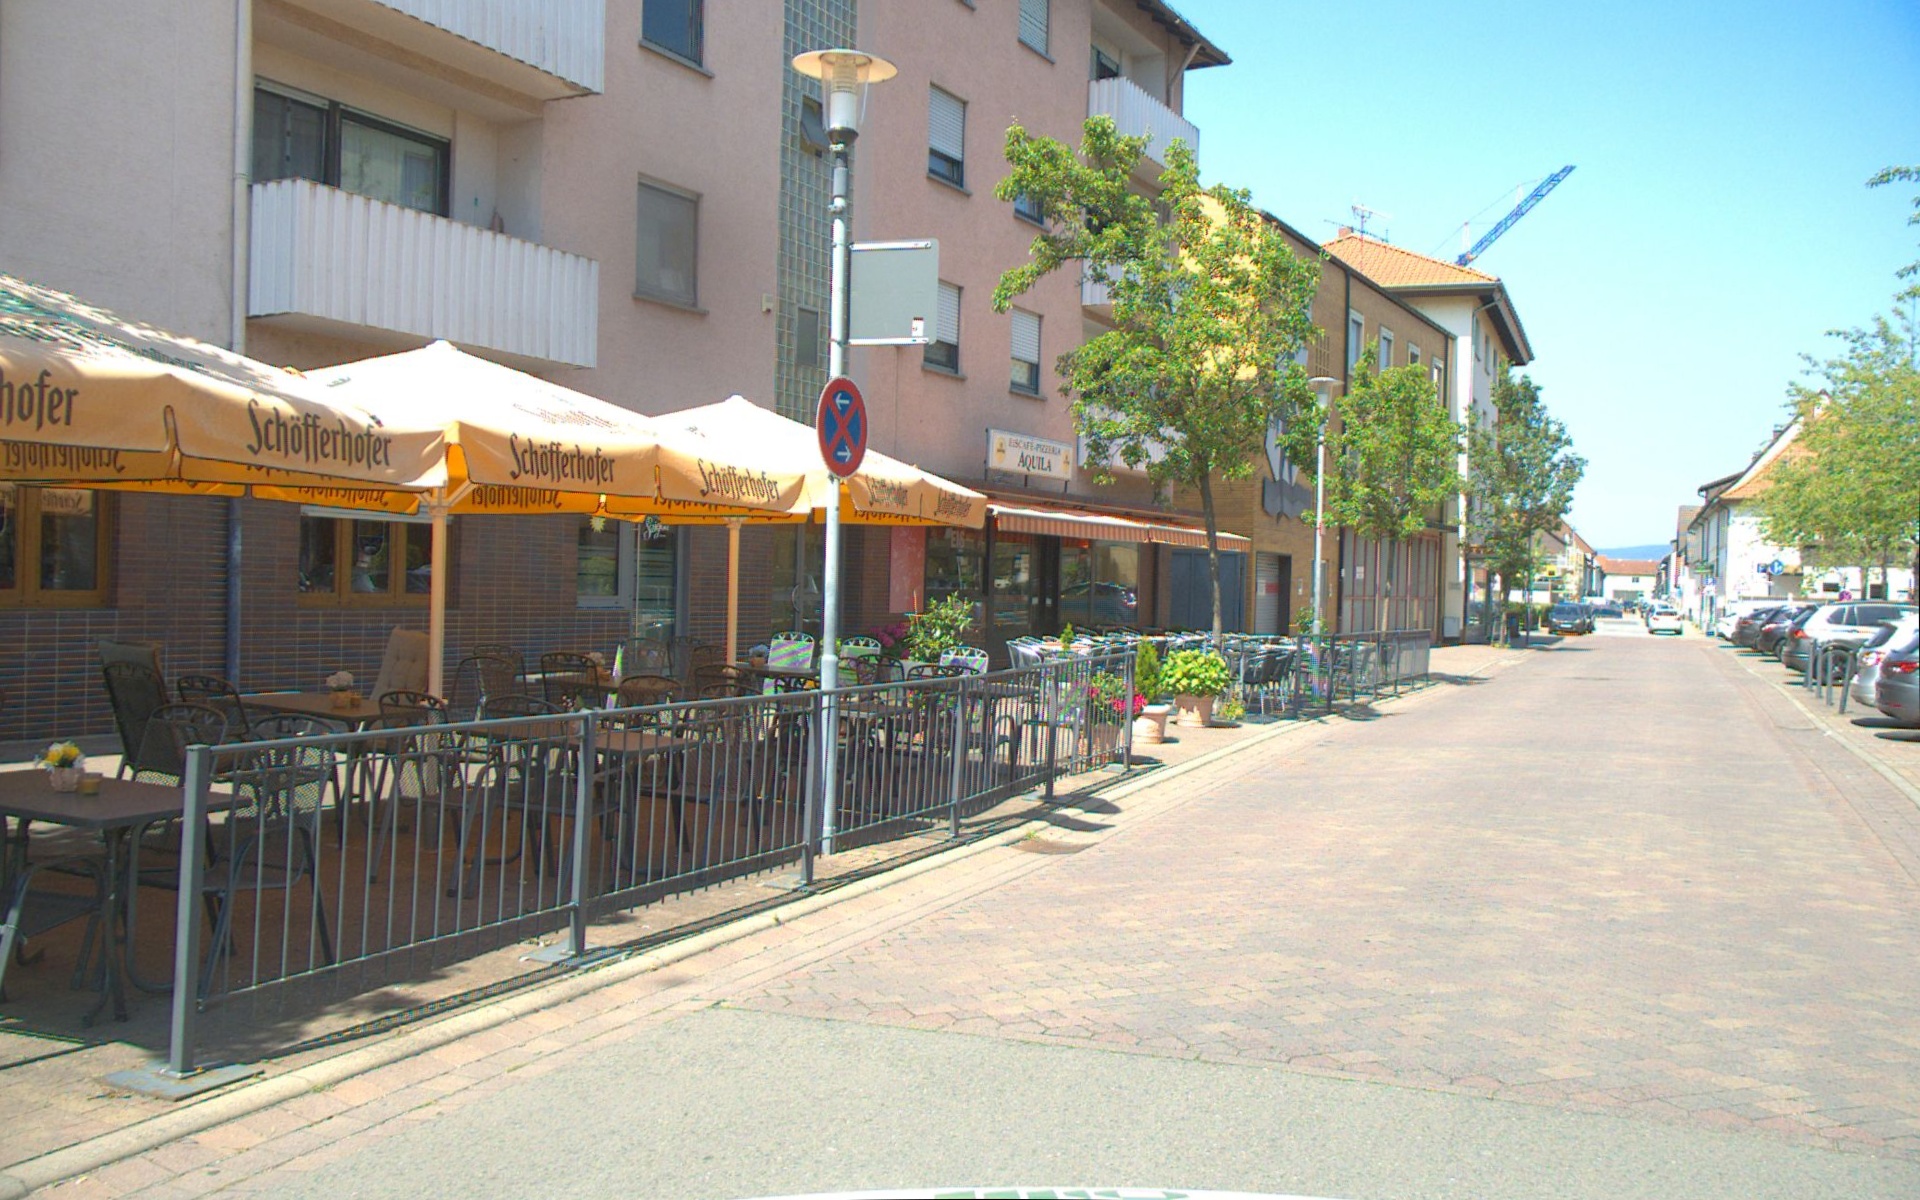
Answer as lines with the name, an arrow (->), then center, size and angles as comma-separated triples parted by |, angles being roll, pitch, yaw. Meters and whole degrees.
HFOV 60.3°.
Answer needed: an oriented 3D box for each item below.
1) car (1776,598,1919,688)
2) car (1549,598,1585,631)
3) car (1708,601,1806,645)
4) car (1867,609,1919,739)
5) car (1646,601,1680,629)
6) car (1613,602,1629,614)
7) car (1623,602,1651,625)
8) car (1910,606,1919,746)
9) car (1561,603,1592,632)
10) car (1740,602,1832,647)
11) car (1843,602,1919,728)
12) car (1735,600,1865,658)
car -> 18.370, 0.842, 32.368 | 4.158, 1.643, 1.558 | 2, 1, 23
car -> 30.882, 0.702, 84.150 | 1.477, 1.526, 3.826 | 2, 1, 23
car -> 32.259, 0.932, 67.044 | 3.405, 1.730, 1.536 | 1, 0, 19
car -> 12.984, 0.912, 19.623 | 3.863, 1.515, 1.713 | 1, 0, 29
car -> 42.372, 0.888, 99.655 | 1.794, 1.558, 3.944 | 2, 2, 23
car -> 86.852, 1.007, 217.323 | 1.712, 1.507, 3.627 | 2, 2, 24
car -> 48.485, 0.940, 118.433 | 1.712, 1.507, 3.627 | 2, 2, 24
car -> 12.547, 0.892, 17.418 | 4.095, 1.568, 1.946 | 1, 0, 20
car -> 35.484, 0.973, 95.181 | 1.477, 1.526, 3.826 | 2, 1, 23
car -> 34.606, 1.013, 69.364 | 3.280, 1.745, 1.470 | 2, 0, 23
car -> 14.147, 0.907, 22.024 | 4.071, 1.601, 1.758 | 2, 1, 25
car -> 26.123, 0.894, 51.541 | 3.451, 1.653, 1.710 | 2, 0, 23
